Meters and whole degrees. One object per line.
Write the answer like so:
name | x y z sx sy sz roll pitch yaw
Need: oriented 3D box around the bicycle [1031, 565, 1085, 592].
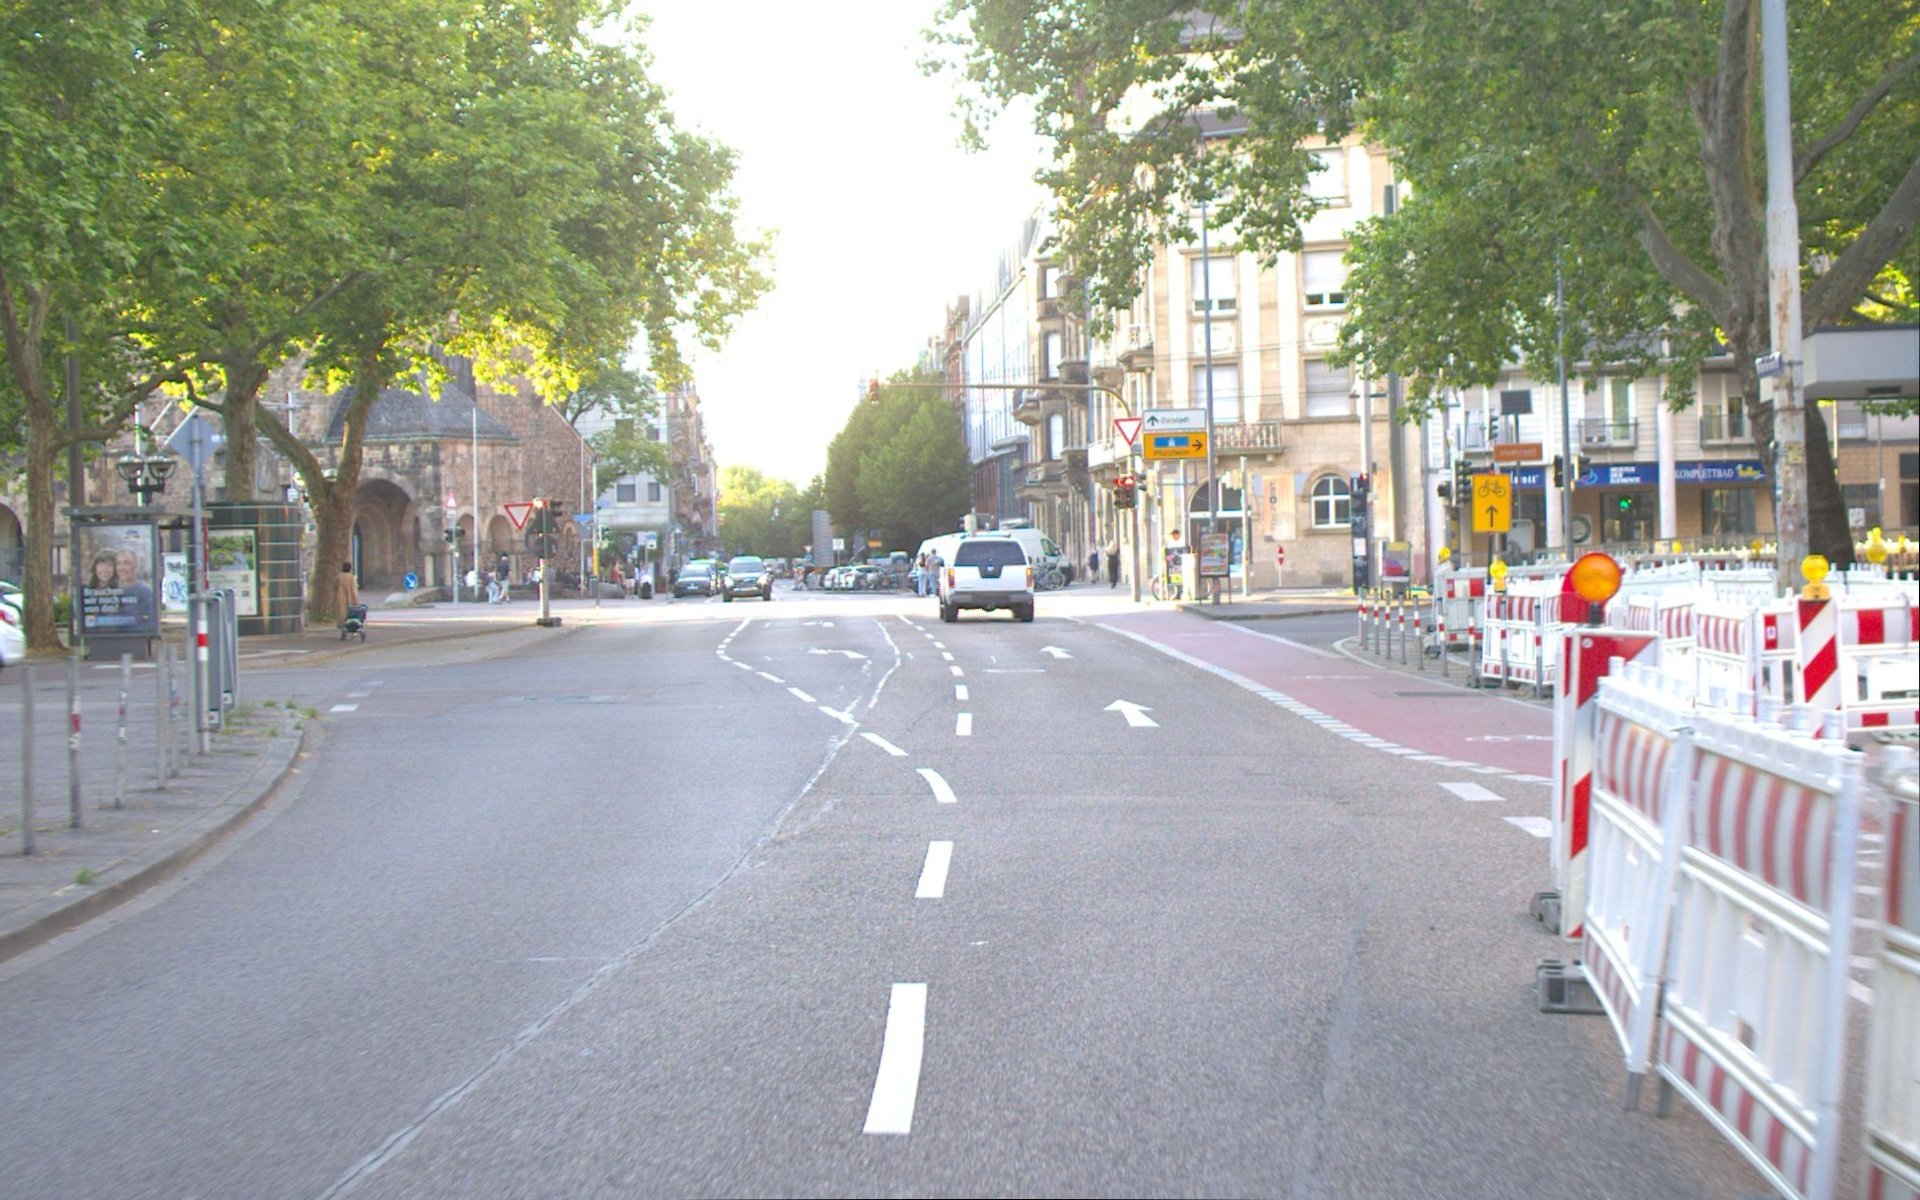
bicycle | 3.688 -0.818 129.394 1.916 0.965 0.545 -1 1 16

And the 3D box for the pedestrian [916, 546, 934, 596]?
pedestrian | -1.332 -1.104 130.862 0.593 1.880 0.647 -1 1 3

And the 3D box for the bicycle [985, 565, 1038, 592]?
bicycle | 1.926 -0.819 129.066 1.914 0.965 0.546 -1 1 -8

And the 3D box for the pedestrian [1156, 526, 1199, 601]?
pedestrian | 5.176 -0.862 81.915 0.794 1.762 0.721 -2 1 -16

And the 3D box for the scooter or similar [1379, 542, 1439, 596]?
scooter or similar | 10.569 -0.724 80.912 0.544 1.246 1.390 -2 1 -39

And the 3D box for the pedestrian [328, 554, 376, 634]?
pedestrian | -12.594 -0.130 71.233 0.738 1.623 0.685 -1 1 13

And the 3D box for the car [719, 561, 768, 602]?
car | -8.814 -0.760 139.633 1.781 1.645 3.822 0 0 -7

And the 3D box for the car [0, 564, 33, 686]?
car | -13.810 0.341 43.470 3.986 1.514 2.001 -1 1 -15

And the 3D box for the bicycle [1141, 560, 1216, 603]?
bicycle | 5.167 -0.435 81.420 1.691 0.965 0.546 -1 1 -5

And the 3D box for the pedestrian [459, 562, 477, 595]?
pedestrian | -20.136 -0.877 140.620 0.573 1.315 0.486 -1 1 13

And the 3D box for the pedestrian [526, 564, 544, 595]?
pedestrian | -17.902 -0.846 144.743 0.573 1.286 0.486 -1 1 13

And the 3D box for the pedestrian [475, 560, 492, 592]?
pedestrian | -19.347 -0.955 139.586 0.498 1.282 0.492 -1 1 18

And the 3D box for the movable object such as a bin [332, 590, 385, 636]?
movable object such as a bin | -12.297 0.262 70.287 0.738 0.887 0.982 -1 1 13

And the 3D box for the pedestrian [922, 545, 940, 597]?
pedestrian | -1.042 -1.051 124.253 0.593 1.880 0.647 -1 1 3

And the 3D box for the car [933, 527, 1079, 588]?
car | 1.842 -1.677 134.880 5.807 2.280 2.071 -2 1 -42

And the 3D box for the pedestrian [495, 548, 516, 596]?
pedestrian | -18.080 -1.110 136.735 0.594 1.880 0.553 -1 1 25

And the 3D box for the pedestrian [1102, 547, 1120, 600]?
pedestrian | 5.408 -0.966 123.276 0.593 1.880 0.647 -1 1 3

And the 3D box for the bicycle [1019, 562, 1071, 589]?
bicycle | 3.174 -0.926 128.337 1.915 0.965 0.546 -1 1 0

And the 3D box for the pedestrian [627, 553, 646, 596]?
pedestrian | -14.467 -1.139 153.821 0.594 1.880 0.584 -1 1 18

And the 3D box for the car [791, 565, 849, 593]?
car | -9.886 -1.488 242.354 3.986 1.809 2.000 -1 1 -5

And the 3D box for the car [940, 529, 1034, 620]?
car | 0.542 -0.545 72.608 1.866 1.808 4.000 -2 1 0

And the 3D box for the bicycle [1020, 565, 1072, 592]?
bicycle | 3.208 -0.814 128.617 1.915 0.965 0.546 -1 1 0

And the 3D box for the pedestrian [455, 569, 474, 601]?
pedestrian | -20.122 -0.626 139.642 0.573 1.286 0.486 -1 1 13

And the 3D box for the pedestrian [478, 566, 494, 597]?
pedestrian | -19.373 -0.750 140.551 0.497 1.276 0.493 -2 1 -23

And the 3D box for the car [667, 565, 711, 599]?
car | -13.365 -0.910 169.308 1.993 1.645 3.822 0 0 -7
